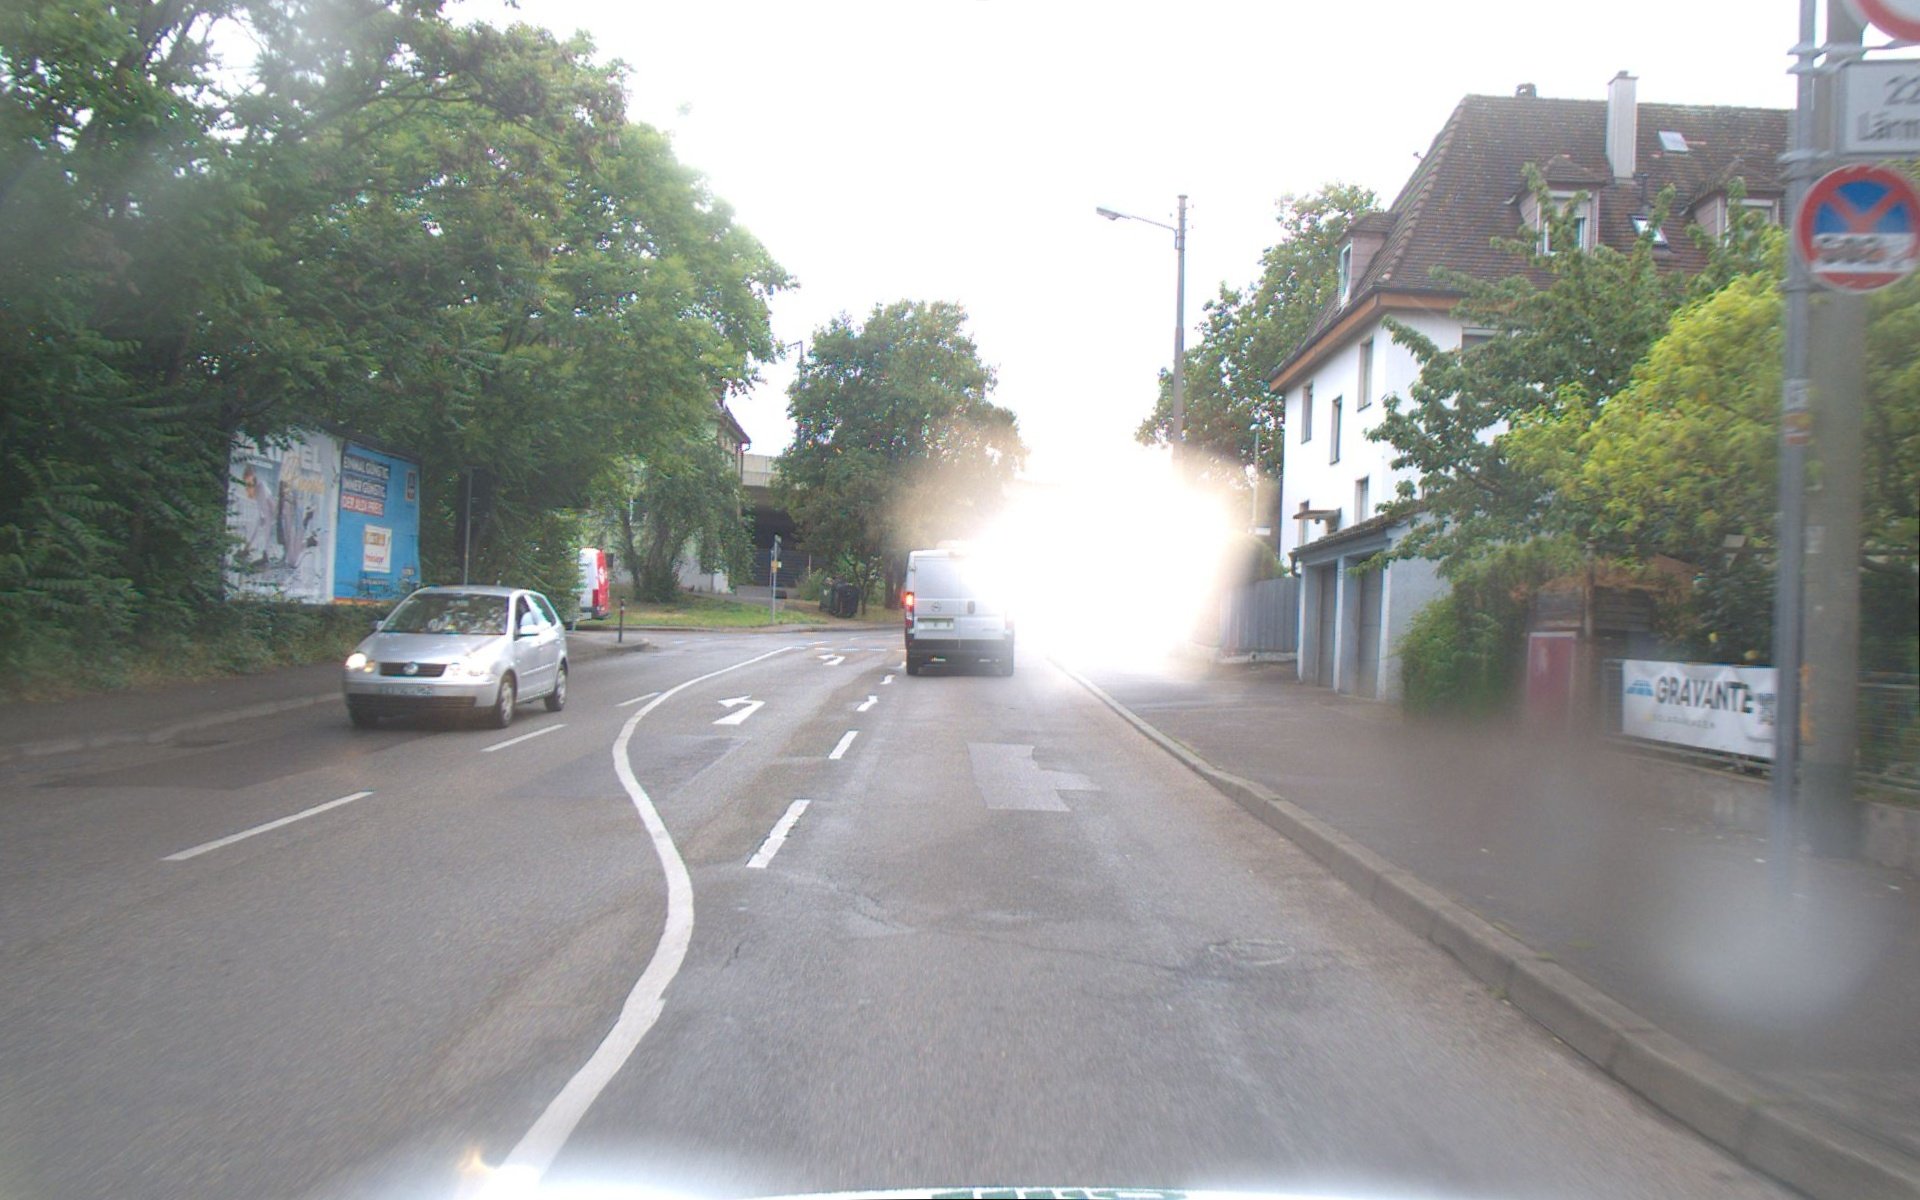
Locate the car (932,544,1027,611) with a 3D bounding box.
[{"bbox_3d":[1.064,-1.046,82.627,2.481,3.070,7.213,3,0,19],"label":"car"}]

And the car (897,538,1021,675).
[{"bbox_3d":[0.034,0.095,31.911,2.102,2.323,5.063,3,0,1],"label":"car"}]

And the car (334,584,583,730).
[{"bbox_3d":[-5.447,0.549,18.446,1.620,1.441,3.935,0,1,-1],"label":"car"}]

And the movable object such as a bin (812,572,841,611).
[{"bbox_3d":[-5.828,-0.365,72.282,0.921,1.590,1.131,8,1,4],"label":"movable object such as a bin"}]

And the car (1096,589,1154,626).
[{"bbox_3d":[7.394,0.358,74.013,1.729,1.537,3.756,3,0,19],"label":"car"}]

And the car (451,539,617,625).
[{"bbox_3d":[-14.286,-0.598,55.641,4.944,2.674,2.153,2,0,-1],"label":"car"}]

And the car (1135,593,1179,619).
[{"bbox_3d":[12.443,0.406,104.148,1.951,1.482,4.832,2,-1,16],"label":"car"}]

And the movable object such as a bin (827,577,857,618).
[{"bbox_3d":[-5.039,-0.111,70.796,0.921,1.590,1.131,8,1,4],"label":"movable object such as a bin"}]
